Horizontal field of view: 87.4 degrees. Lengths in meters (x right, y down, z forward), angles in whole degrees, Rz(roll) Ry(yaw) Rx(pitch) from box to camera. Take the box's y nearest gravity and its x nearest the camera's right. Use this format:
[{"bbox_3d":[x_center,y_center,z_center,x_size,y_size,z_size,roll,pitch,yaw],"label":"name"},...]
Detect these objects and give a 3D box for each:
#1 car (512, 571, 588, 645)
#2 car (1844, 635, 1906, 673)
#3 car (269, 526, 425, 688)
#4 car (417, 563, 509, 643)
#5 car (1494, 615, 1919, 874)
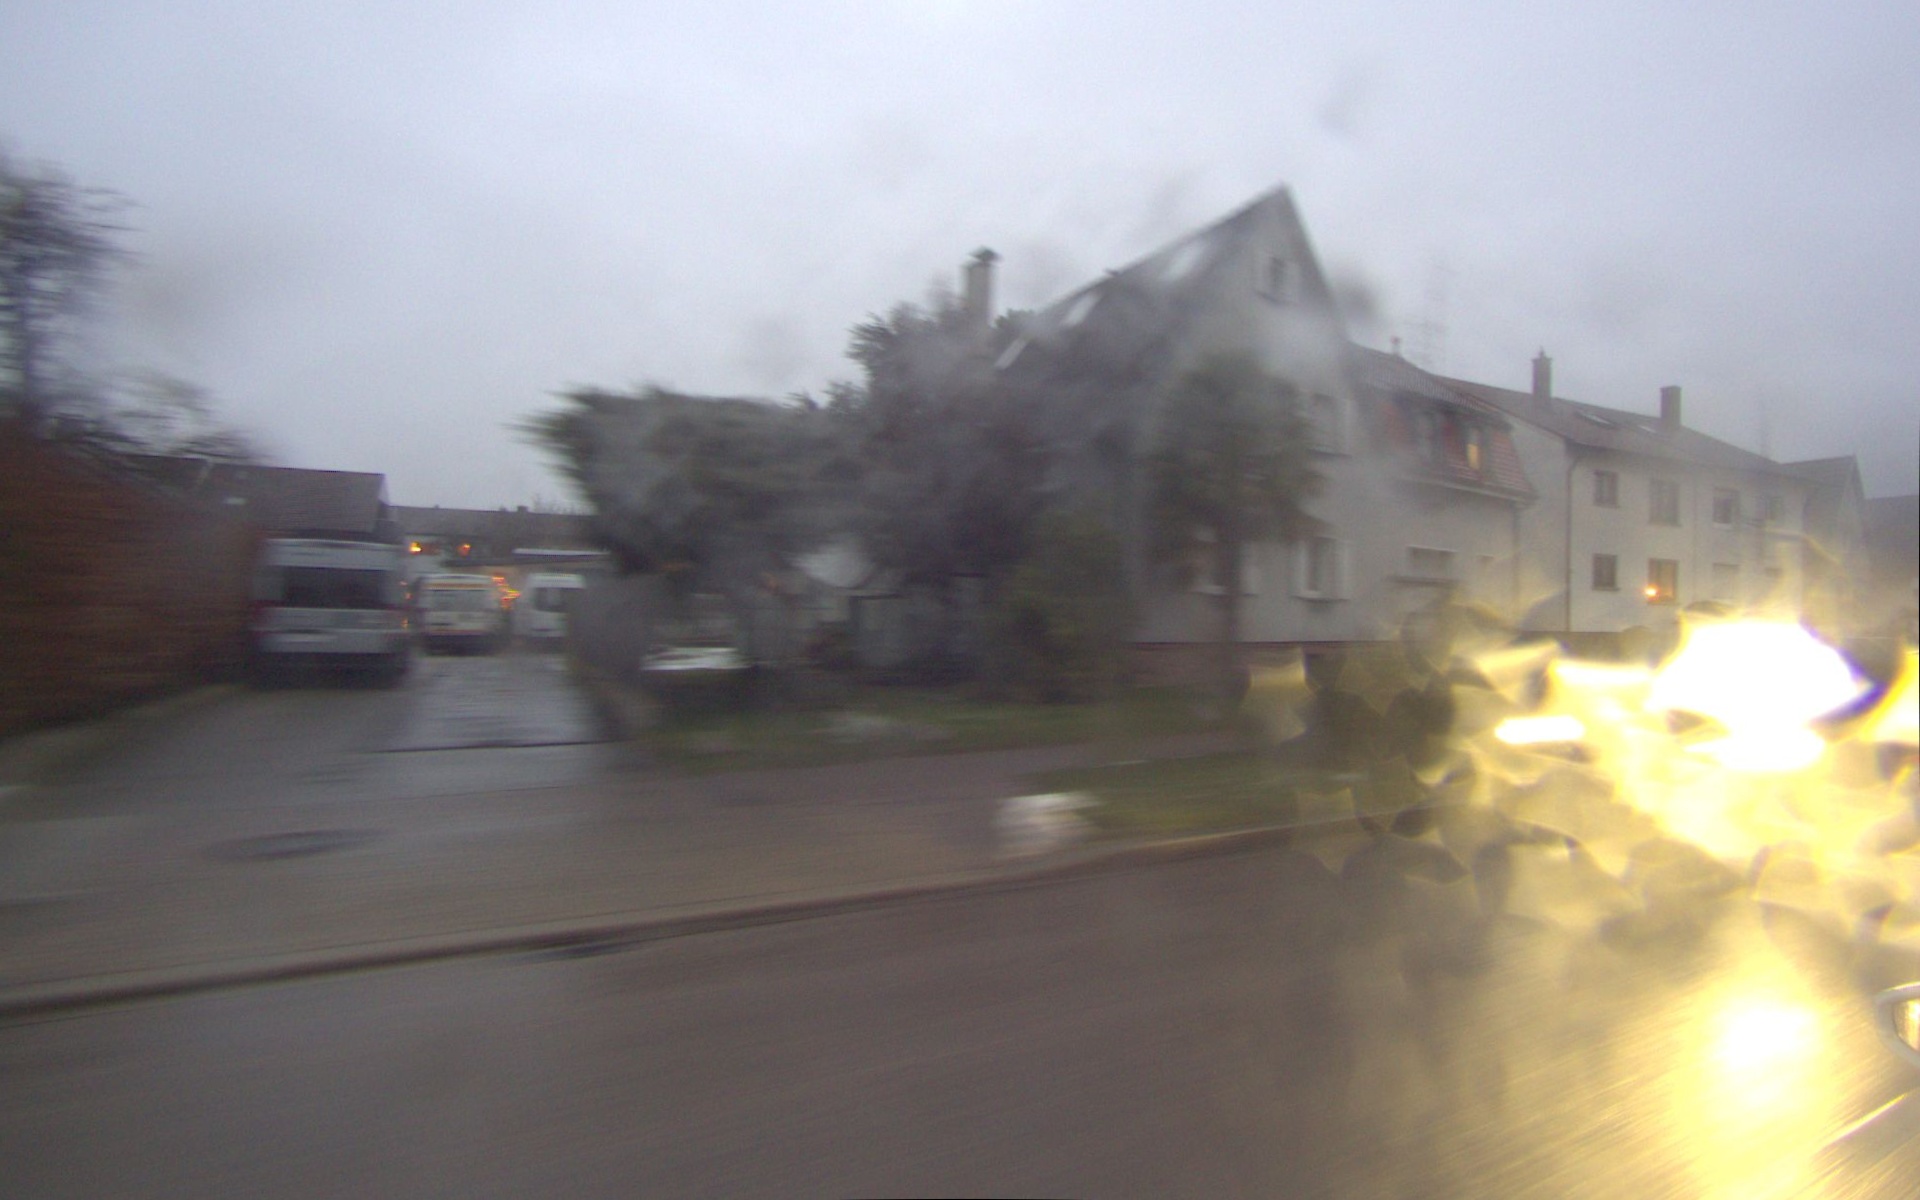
[{"bbox_3d":[-14.526,0.265,35.611,2.285,2.372,5.326,2,0,-22],"label":"car"},{"bbox_3d":[38.842,2.274,42.621,1.759,1.411,3.975,3,0,44],"label":"car"},{"bbox_3d":[-11.345,0.110,18.950,1.974,2.595,5.319,2,0,-26],"label":"car"},{"bbox_3d":[-16.321,0.092,33.254,2.285,2.372,5.326,2,0,-22],"label":"car"},{"bbox_3d":[6.252,0.957,7.916,3.953,1.574,1.815,2,-2,-30],"label":"car"}]
